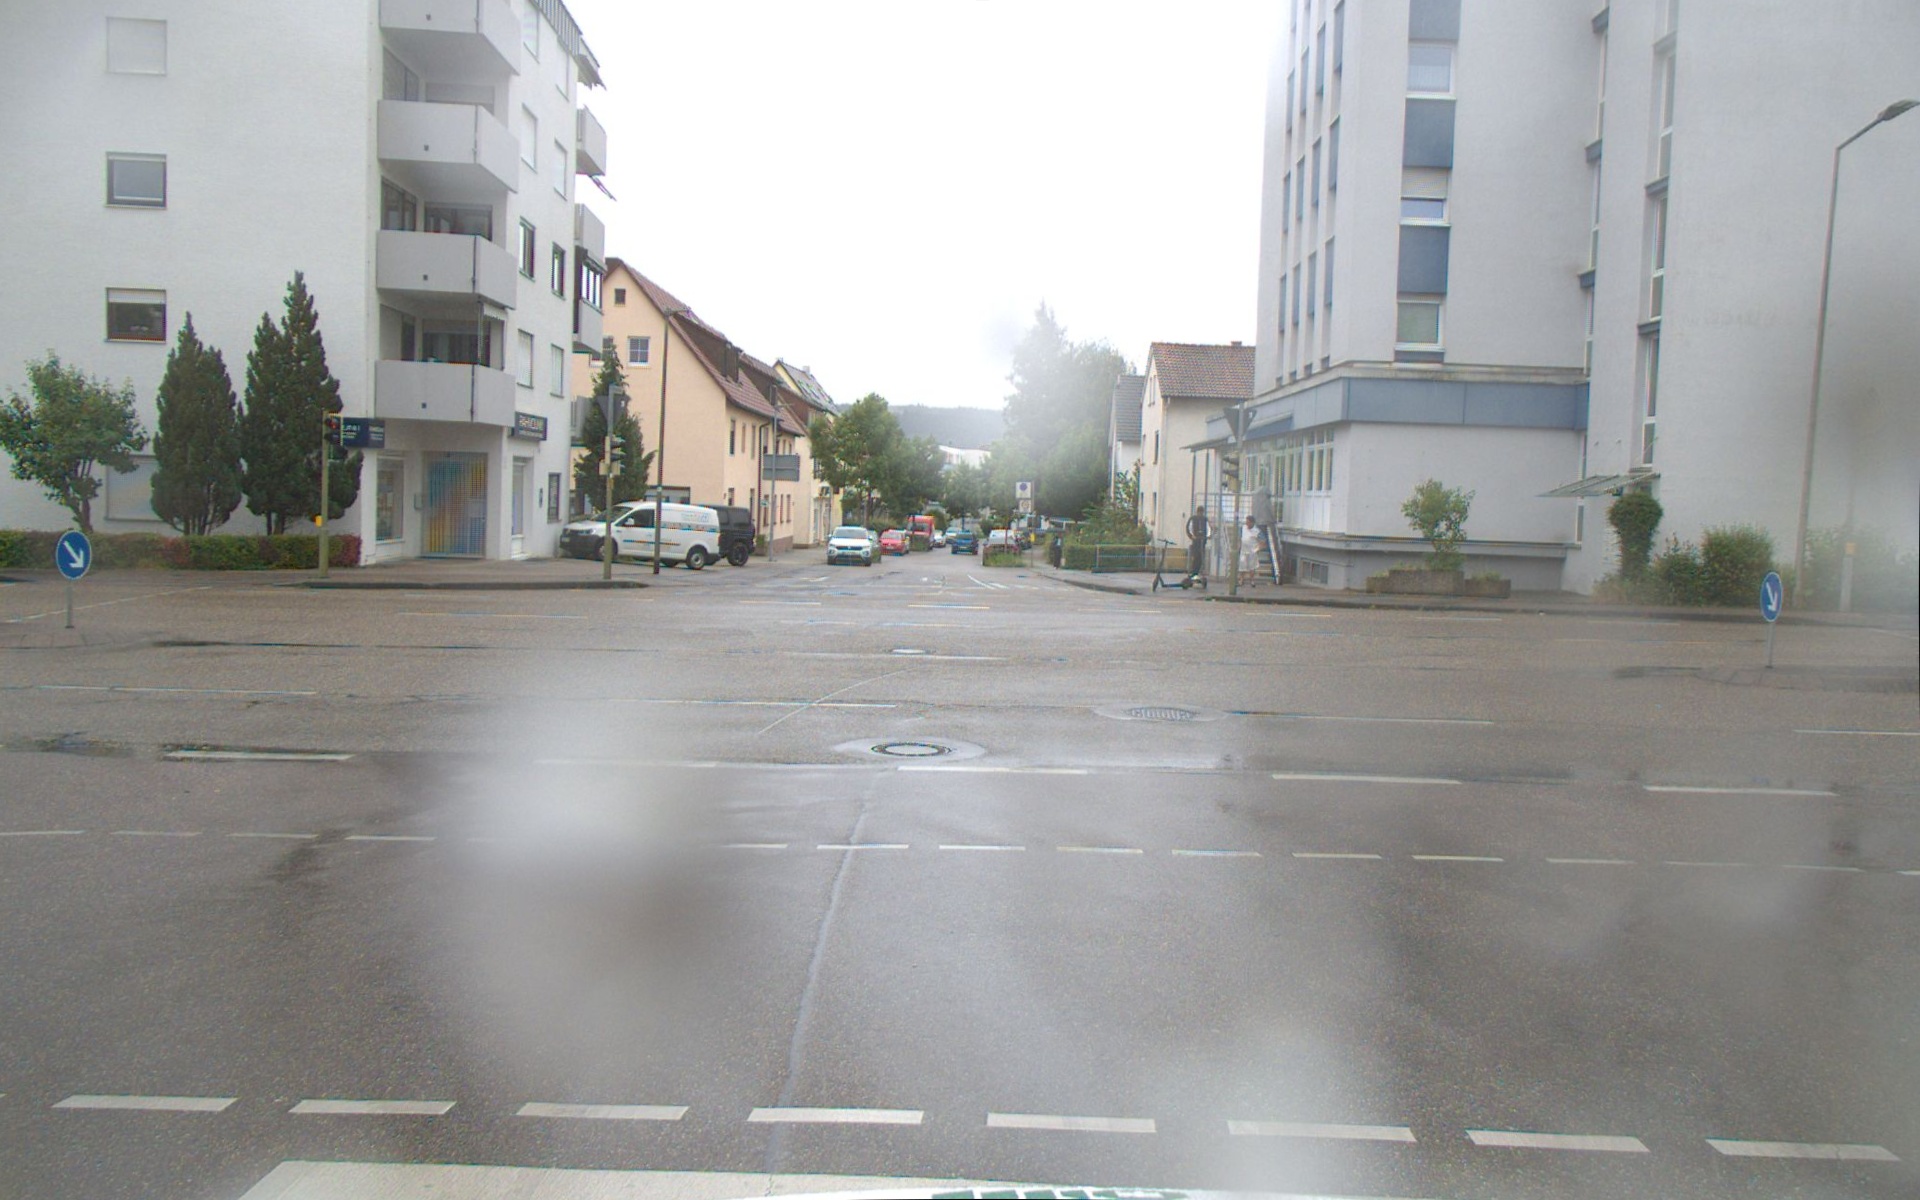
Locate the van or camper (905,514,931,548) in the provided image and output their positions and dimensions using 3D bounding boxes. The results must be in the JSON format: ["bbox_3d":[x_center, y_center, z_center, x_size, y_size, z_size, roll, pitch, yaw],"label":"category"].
[{"bbox_3d":[-3.194,-5.285,126.953,1.862,2.557,4.239,0,2,0],"label":"van or camper"}]

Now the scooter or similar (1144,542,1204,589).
[{"bbox_3d":[5.057,-0.827,39.179,1.243,1.100,0.876,0,2,-5],"label":"scooter or similar"}]

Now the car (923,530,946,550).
[{"bbox_3d":[-2.150,-5.045,139.098,1.862,1.586,4.192,0,2,0],"label":"car"}]

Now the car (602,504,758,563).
[{"bbox_3d":[-9.272,-2.174,54.951,4.796,1.867,1.972,-1,2,-39],"label":"car"}]

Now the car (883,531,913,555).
[{"bbox_3d":[-4.241,-3.891,113.253,1.862,1.586,4.192,0,2,0],"label":"car"}]

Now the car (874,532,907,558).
[{"bbox_3d":[-4.397,-3.496,104.845,1.862,1.586,4.192,0,2,0],"label":"car"}]

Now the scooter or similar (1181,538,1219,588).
[{"bbox_3d":[5.816,-0.904,40.179,0.741,1.192,1.315,1,2,1],"label":"scooter or similar"}]

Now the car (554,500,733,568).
[{"bbox_3d":[-9.165,-1.885,48.053,4.796,1.867,1.972,-1,2,-39],"label":"car"}]

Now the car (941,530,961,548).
[{"bbox_3d":[-0.810,-5.713,155.108,1.862,1.586,4.192,0,2,0],"label":"car"}]

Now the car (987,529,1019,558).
[{"bbox_3d":[2.689,-3.557,104.208,1.862,1.775,4.192,0,2,0],"label":"car"}]

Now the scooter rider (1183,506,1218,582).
[{"bbox_3d":[5.830,-1.363,40.107,0.736,1.827,0.673,0,1,0],"label":"scooter rider"}]

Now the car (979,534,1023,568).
[{"bbox_3d":[1.999,-2.452,82.156,2.102,1.616,4.129,0,2,0],"label":"car"}]

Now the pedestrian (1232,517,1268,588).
[{"bbox_3d":[7.058,-1.159,40.237,0.635,1.675,0.525,4,1,-7],"label":"pedestrian"}]

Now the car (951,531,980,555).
[{"bbox_3d":[0.380,-4.074,118.174,1.953,1.713,3.999,0,2,-2],"label":"car"}]

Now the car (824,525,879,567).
[{"bbox_3d":[-4.445,-2.230,68.394,1.953,1.654,4.192,0,2,0],"label":"car"}]

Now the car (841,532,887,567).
[{"bbox_3d":[-4.596,-2.433,79.796,1.953,1.654,4.192,0,2,0],"label":"car"}]

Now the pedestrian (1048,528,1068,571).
[{"bbox_3d":[4.403,-2.255,74.229,0.730,1.880,0.526,4,1,2],"label":"pedestrian"}]
